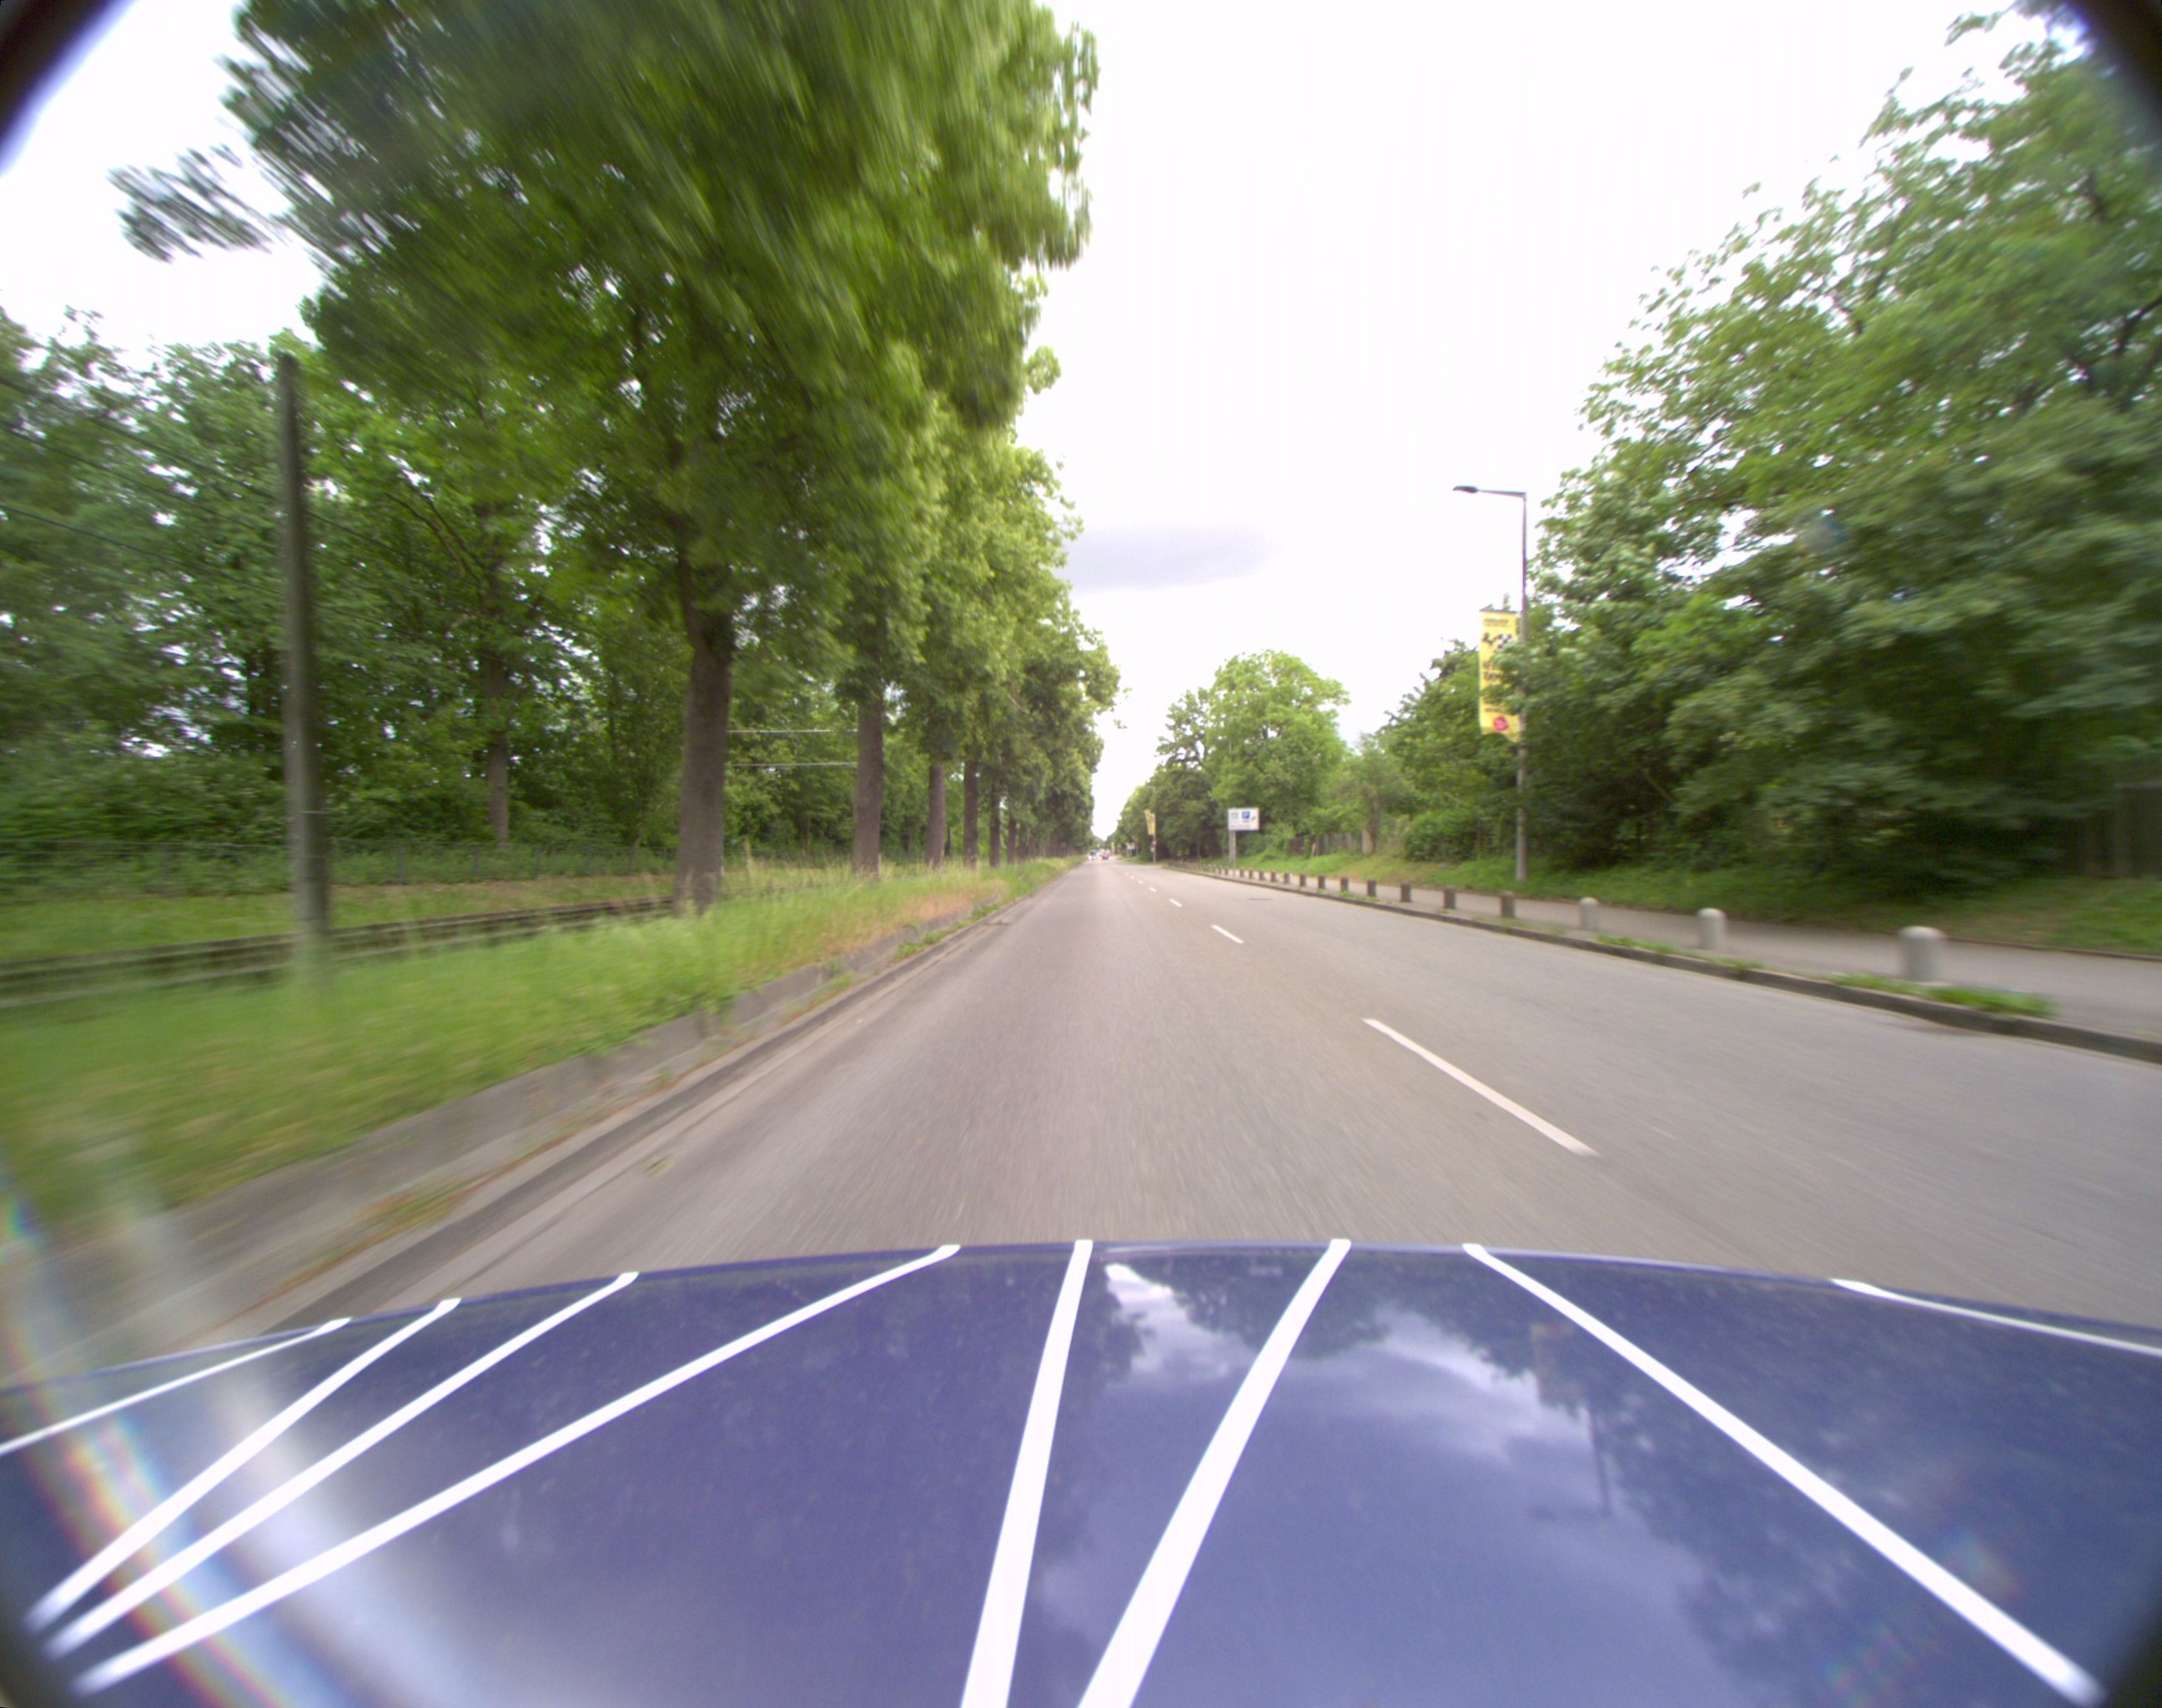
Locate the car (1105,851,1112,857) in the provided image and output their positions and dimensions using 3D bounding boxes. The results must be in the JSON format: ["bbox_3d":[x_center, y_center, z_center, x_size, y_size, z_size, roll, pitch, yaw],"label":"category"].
[{"bbox_3d":[8.261,-0.043,227.715,1.762,1.601,3.999,-2,1,1],"label":"car"}]

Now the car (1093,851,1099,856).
[{"bbox_3d":[4.934,-0.266,249.848,1.762,1.601,3.999,-2,1,1],"label":"car"}]
